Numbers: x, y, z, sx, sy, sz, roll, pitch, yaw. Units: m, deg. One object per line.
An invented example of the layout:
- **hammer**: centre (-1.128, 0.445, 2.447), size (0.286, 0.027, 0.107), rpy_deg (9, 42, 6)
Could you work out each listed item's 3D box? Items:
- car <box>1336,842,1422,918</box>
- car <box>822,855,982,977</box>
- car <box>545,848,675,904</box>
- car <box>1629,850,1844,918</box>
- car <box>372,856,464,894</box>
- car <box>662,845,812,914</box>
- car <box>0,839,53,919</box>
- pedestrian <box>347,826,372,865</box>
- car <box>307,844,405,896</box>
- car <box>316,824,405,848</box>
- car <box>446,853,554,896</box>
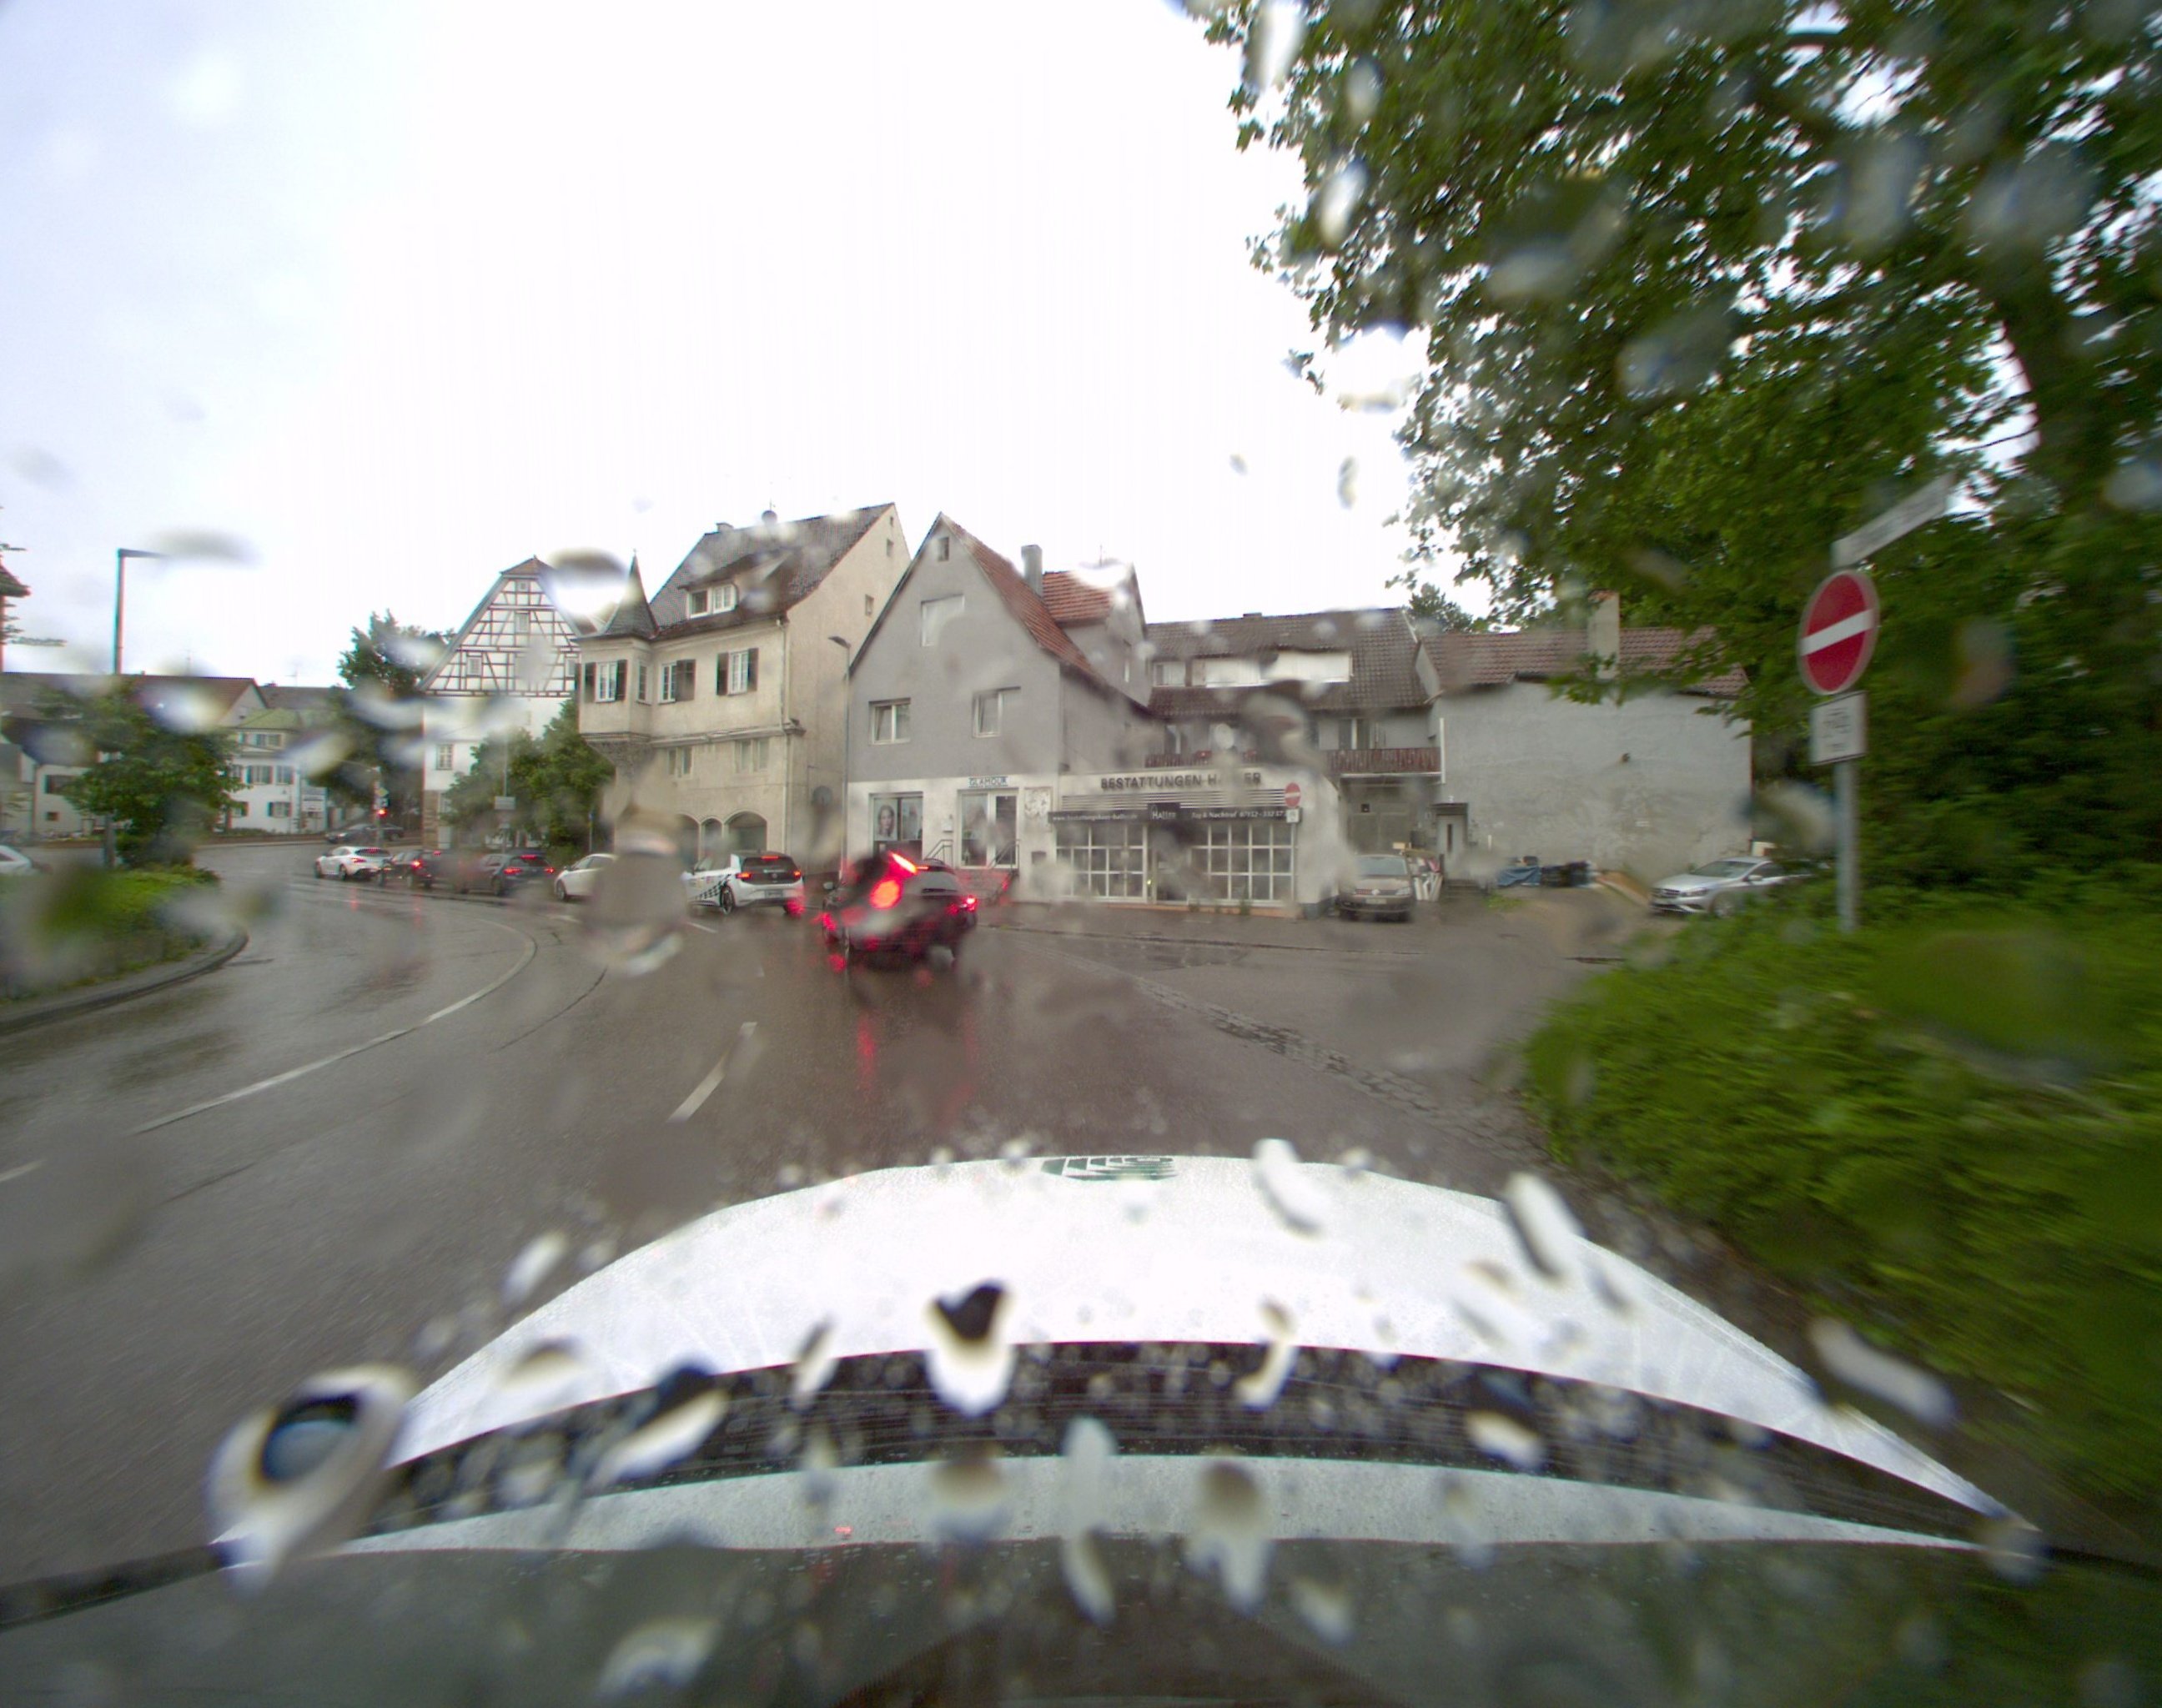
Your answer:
- **car**: centre (7.852, 0.585, 21.622), size (1.908, 1.727, 4.691), rpy_deg (0, 1, 19)
- **car**: centre (-2.941, 0.789, 12.680), size (1.739, 1.450, 4.210), rpy_deg (-1, 1, -22)
- **car**: centre (-14.274, 0.603, 24.638), size (4.110, 1.465, 1.803), rpy_deg (1, 2, 34)
- **car**: centre (16.026, 0.700, 20.034), size (4.017, 1.388, 1.741), rpy_deg (-2, 3, -3)
- **car**: centre (-25.901, 0.786, 31.802), size (3.577, 1.312, 1.679), rpy_deg (1, 2, 31)
- **car**: centre (-8.701, 0.573, 20.443), size (4.187, 1.517, 1.806), rpy_deg (0, 1, 41)
- **car**: centre (-23.736, 0.532, 16.283), size (1.696, 1.685, 3.549), rpy_deg (0, 1, 11)
- **pedestrian**: centre (-43.307, -0.490, 48.893), size (1.215, 2.326, 0.873), rpy_deg (-1, -1, 37)
- **car**: centre (-31.524, 0.637, 35.387), size (3.910, 2.090, 1.992), rpy_deg (1, 2, 30)
- **car**: centre (-50.984, -1.257, 57.781), size (1.636, 1.390, 4.543), rpy_deg (7, 1, 11)
- **car**: centre (-20.387, 0.678, 28.550), size (3.720, 1.361, 1.533), rpy_deg (1, 2, 28)
